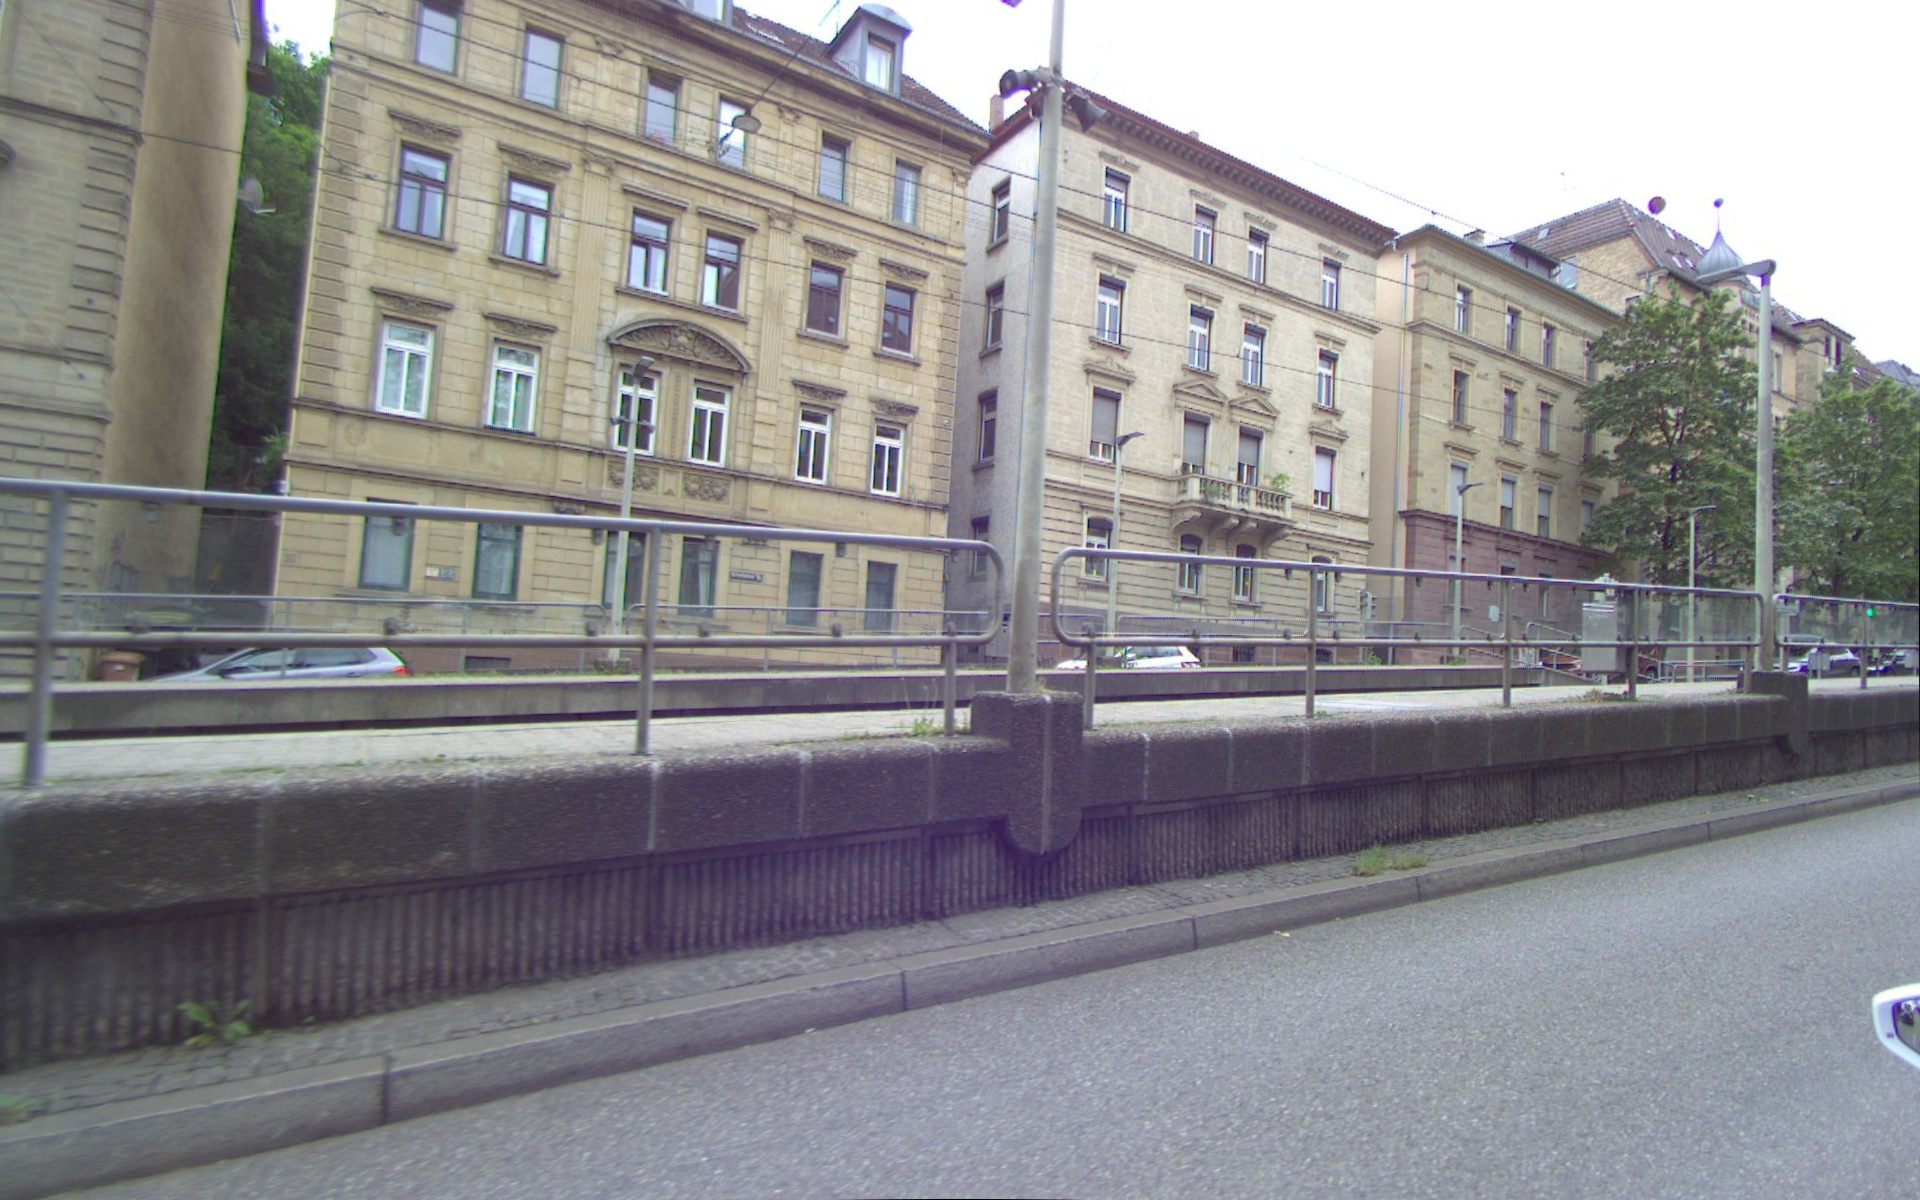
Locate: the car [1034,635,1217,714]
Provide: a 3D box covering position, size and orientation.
[{"bbox_3d":[3.911,1.703,23.633,3.955,1.701,1.926,2,-3,-32],"label":"car"}]

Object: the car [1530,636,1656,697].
[{"bbox_3d":[20.727,2.137,32.867,4.090,1.884,1.840,2,-3,-31],"label":"car"}]

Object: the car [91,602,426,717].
[{"bbox_3d":[-10.454,0.877,15.353,3.954,1.548,1.869,1,-3,-31],"label":"car"}]

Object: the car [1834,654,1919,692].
[{"bbox_3d":[36.770,2.888,40.044,4.169,1.466,1.670,2,-3,-30],"label":"car"}]

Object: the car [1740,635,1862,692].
[{"bbox_3d":[27.905,2.072,33.301,4.523,1.758,1.701,2,-3,-31],"label":"car"}]
